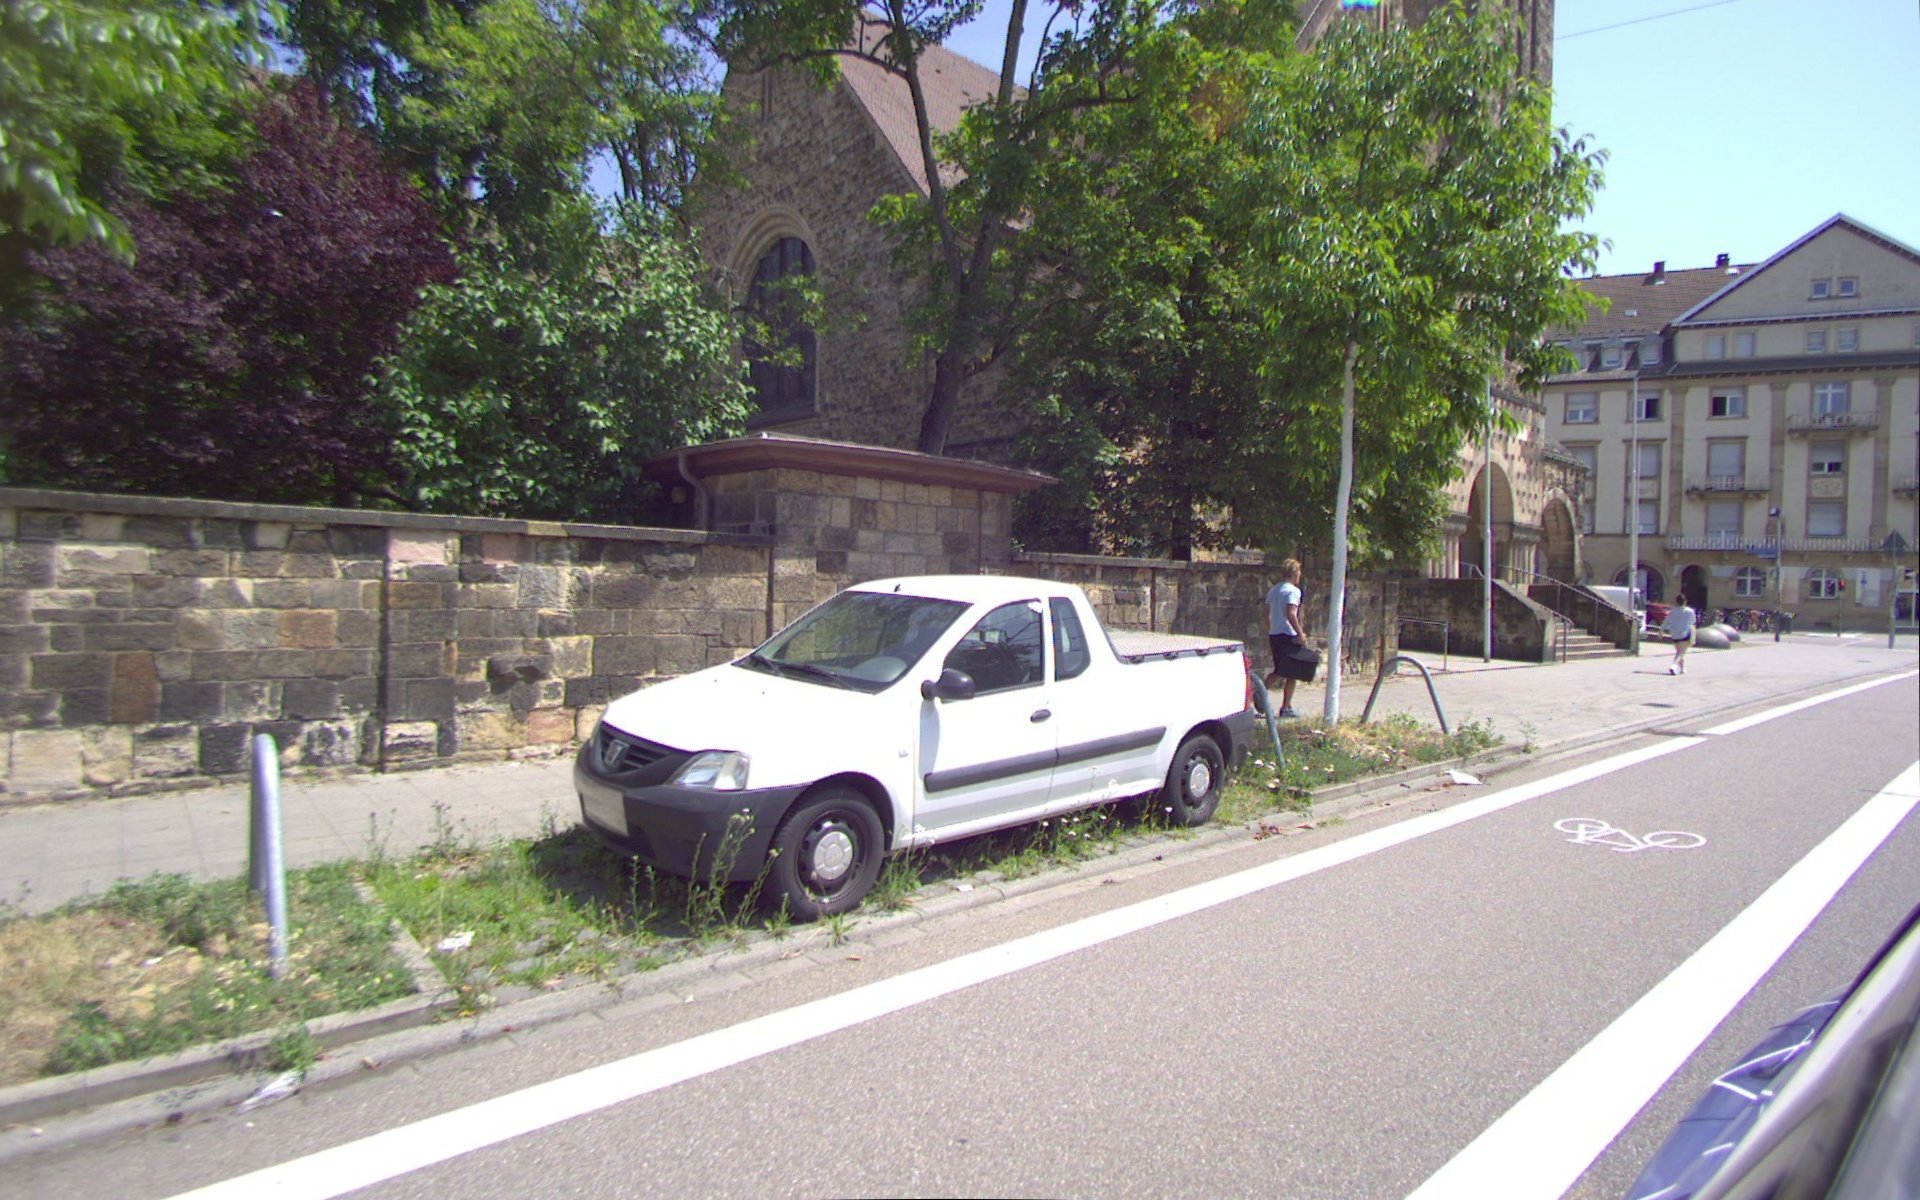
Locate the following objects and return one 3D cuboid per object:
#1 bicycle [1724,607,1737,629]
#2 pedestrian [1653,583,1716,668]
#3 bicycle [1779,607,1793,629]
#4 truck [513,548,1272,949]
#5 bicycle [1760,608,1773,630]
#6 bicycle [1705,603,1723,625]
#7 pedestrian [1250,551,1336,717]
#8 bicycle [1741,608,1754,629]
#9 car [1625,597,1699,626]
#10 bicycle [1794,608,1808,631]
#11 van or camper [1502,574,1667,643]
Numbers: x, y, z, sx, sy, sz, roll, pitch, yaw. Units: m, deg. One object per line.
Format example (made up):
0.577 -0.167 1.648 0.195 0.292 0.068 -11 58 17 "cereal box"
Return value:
44.384 1.042 58.315 0.562 1.165 1.780 1 2 38 "bicycle"
14.700 0.498 20.524 0.949 1.671 0.795 1 0 -39 "pedestrian"
47.172 1.036 57.775 0.562 1.165 1.780 1 2 38 "bicycle"
-0.090 0.547 6.060 4.390 1.545 1.792 0 2 -43 "truck"
46.395 1.078 58.233 0.562 1.165 1.780 1 2 38 "bicycle"
43.202 0.784 57.981 0.560 1.165 1.787 1 2 29 "bicycle"
3.700 0.357 11.259 0.666 1.777 0.622 1 0 -39 "pedestrian"
45.450 1.063 58.388 0.562 1.165 1.780 1 2 38 "bicycle"
40.625 0.640 58.650 1.583 1.497 3.235 -1 3 -15 "car"
46.683 1.074 56.181 0.562 1.165 2.032 1 2 38 "bicycle"
19.520 0.223 31.767 1.772 1.847 3.995 1 3 -41 "van or camper"
